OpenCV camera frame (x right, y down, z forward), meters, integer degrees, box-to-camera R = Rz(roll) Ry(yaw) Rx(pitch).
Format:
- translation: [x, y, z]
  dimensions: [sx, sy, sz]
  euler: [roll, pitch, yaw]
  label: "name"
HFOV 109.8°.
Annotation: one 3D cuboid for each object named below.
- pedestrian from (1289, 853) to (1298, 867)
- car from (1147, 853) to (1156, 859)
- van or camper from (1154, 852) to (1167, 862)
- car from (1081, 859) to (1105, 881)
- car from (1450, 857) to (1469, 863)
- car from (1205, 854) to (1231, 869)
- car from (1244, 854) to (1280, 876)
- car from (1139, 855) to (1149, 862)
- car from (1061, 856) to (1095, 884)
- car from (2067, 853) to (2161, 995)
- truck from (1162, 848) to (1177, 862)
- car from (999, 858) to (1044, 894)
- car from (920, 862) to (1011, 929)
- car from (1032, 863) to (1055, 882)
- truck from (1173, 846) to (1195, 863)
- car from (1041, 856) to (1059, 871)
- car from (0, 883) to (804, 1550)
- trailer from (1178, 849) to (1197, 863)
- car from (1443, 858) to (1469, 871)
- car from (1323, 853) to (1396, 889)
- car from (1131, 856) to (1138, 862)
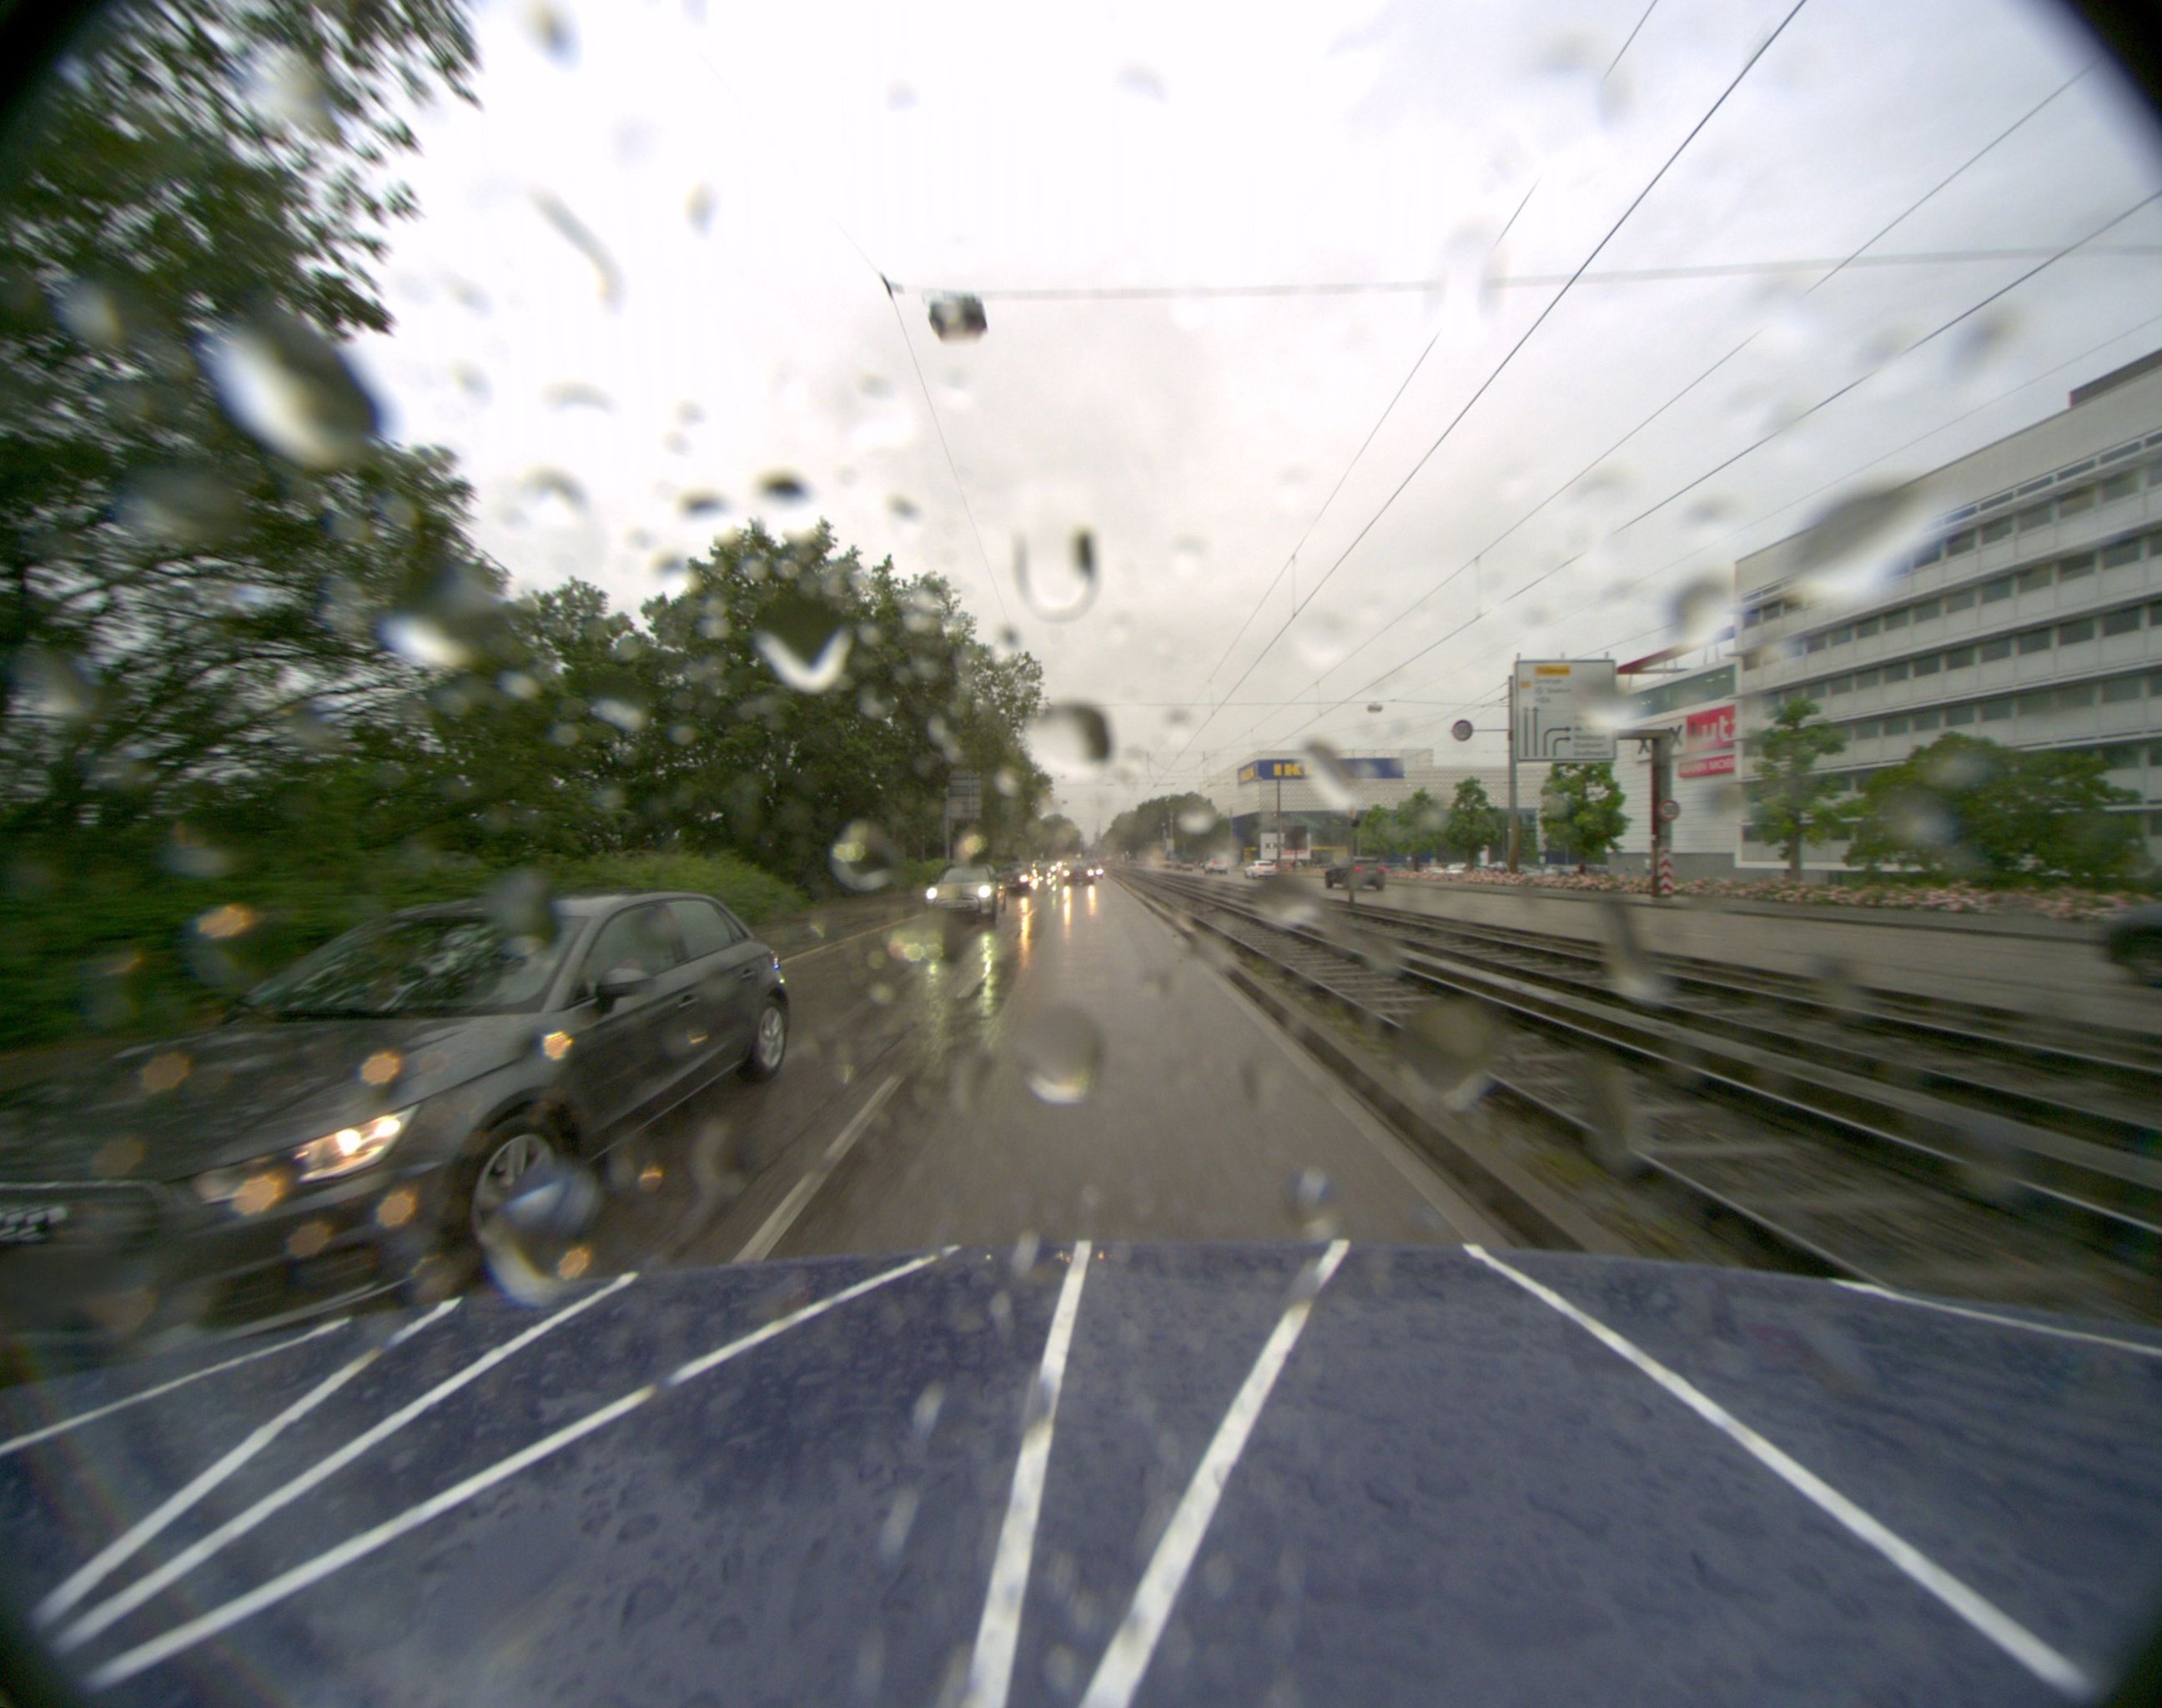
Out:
- translation: [27.708, 0.803, 99.060]
  dimensions: [0.824, 1.752, 1.050]
  euler: [-4, 1, 3]
  label: "pedestrian"
- translation: [17.556, 0.527, 189.429]
  dimensions: [1.968, 1.507, 4.554]
  euler: [1, 0, 0]
  label: "car"
- translation: [16.991, 0.617, 162.336]
  dimensions: [2.310, 2.002, 5.686]
  euler: [0, 0, 2]
  label: "van or camper"
- translation: [0.891, 1.228, 57.735]
  dimensions: [1.715, 1.515, 4.043]
  euler: [-3, -1, 0]
  label: "car"
- translation: [92.072, 1.470, 184.851]
  dimensions: [3.982, 1.399, 1.602]
  euler: [-3, 1, 3]
  label: "car"
- translation: [14.669, 0.822, 81.688]
  dimensions: [1.998, 1.574, 4.766]
  euler: [0, 0, 1]
  label: "car"
- translation: [14.295, 0.834, 60.247]
  dimensions: [1.776, 1.673, 4.688]
  euler: [-1, 0, 0]
  label: "car"
- translation: [14.604, 1.019, 176.165]
  dimensions: [1.823, 1.613, 4.536]
  euler: [-1, 0, 0]
  label: "car"
- translation: [-0.230, 0.973, 46.109]
  dimensions: [1.877, 1.573, 4.043]
  euler: [-3, -1, -1]
  label: "car"
- translation: [13.265, 0.795, 7.349]
  dimensions: [1.998, 1.608, 4.254]
  euler: [-1, 0, 2]
  label: "car"
- translation: [16.659, 0.209, 143.004]
  dimensions: [2.232, 2.447, 6.067]
  euler: [1, 0, 1]
  label: "truck"
- translation: [-2.635, 0.979, 34.352]
  dimensions: [1.776, 1.453, 4.092]
  euler: [-3, -1, -2]
  label: "car"
- translation: [-2.855, 0.988, 19.592]
  dimensions: [1.796, 1.406, 3.853]
  euler: [-2, 1, -1]
  label: "car"
- translation: [-3.227, 1.584, 65.380]
  dimensions: [1.715, 1.475, 4.043]
  euler: [-3, -1, 0]
  label: "car"
- translation: [15.421, 0.024, 113.889]
  dimensions: [2.441, 2.443, 7.219]
  euler: [0, 0, 1]
  label: "truck"
- translation: [-3.347, 1.045, 82.690]
  dimensions: [1.715, 1.515, 4.043]
  euler: [-3, -1, 0]
  label: "car"
- translation: [-3.109, 0.996, 3.855]
  dimensions: [1.973, 1.519, 3.991]
  euler: [-2, -1, -1]
  label: "car"
- translation: [15.178, 0.295, 108.209]
  dimensions: [2.124, 1.782, 3.836]
  euler: [-3, 0, 1]
  label: "trailer"
- translation: [60.264, 1.645, 122.098]
  dimensions: [1.999, 2.002, 4.090]
  euler: [-3, 0, -2]
  label: "car"
- translation: [14.150, 0.832, 38.963]
  dimensions: [1.998, 1.711, 4.882]
  euler: [0, 0, 0]
  label: "car"
- translation: [16.545, 1.524, 233.290]
  dimensions: [1.878, 1.564, 4.329]
  euler: [-3, -1, 2]
  label: "car"
